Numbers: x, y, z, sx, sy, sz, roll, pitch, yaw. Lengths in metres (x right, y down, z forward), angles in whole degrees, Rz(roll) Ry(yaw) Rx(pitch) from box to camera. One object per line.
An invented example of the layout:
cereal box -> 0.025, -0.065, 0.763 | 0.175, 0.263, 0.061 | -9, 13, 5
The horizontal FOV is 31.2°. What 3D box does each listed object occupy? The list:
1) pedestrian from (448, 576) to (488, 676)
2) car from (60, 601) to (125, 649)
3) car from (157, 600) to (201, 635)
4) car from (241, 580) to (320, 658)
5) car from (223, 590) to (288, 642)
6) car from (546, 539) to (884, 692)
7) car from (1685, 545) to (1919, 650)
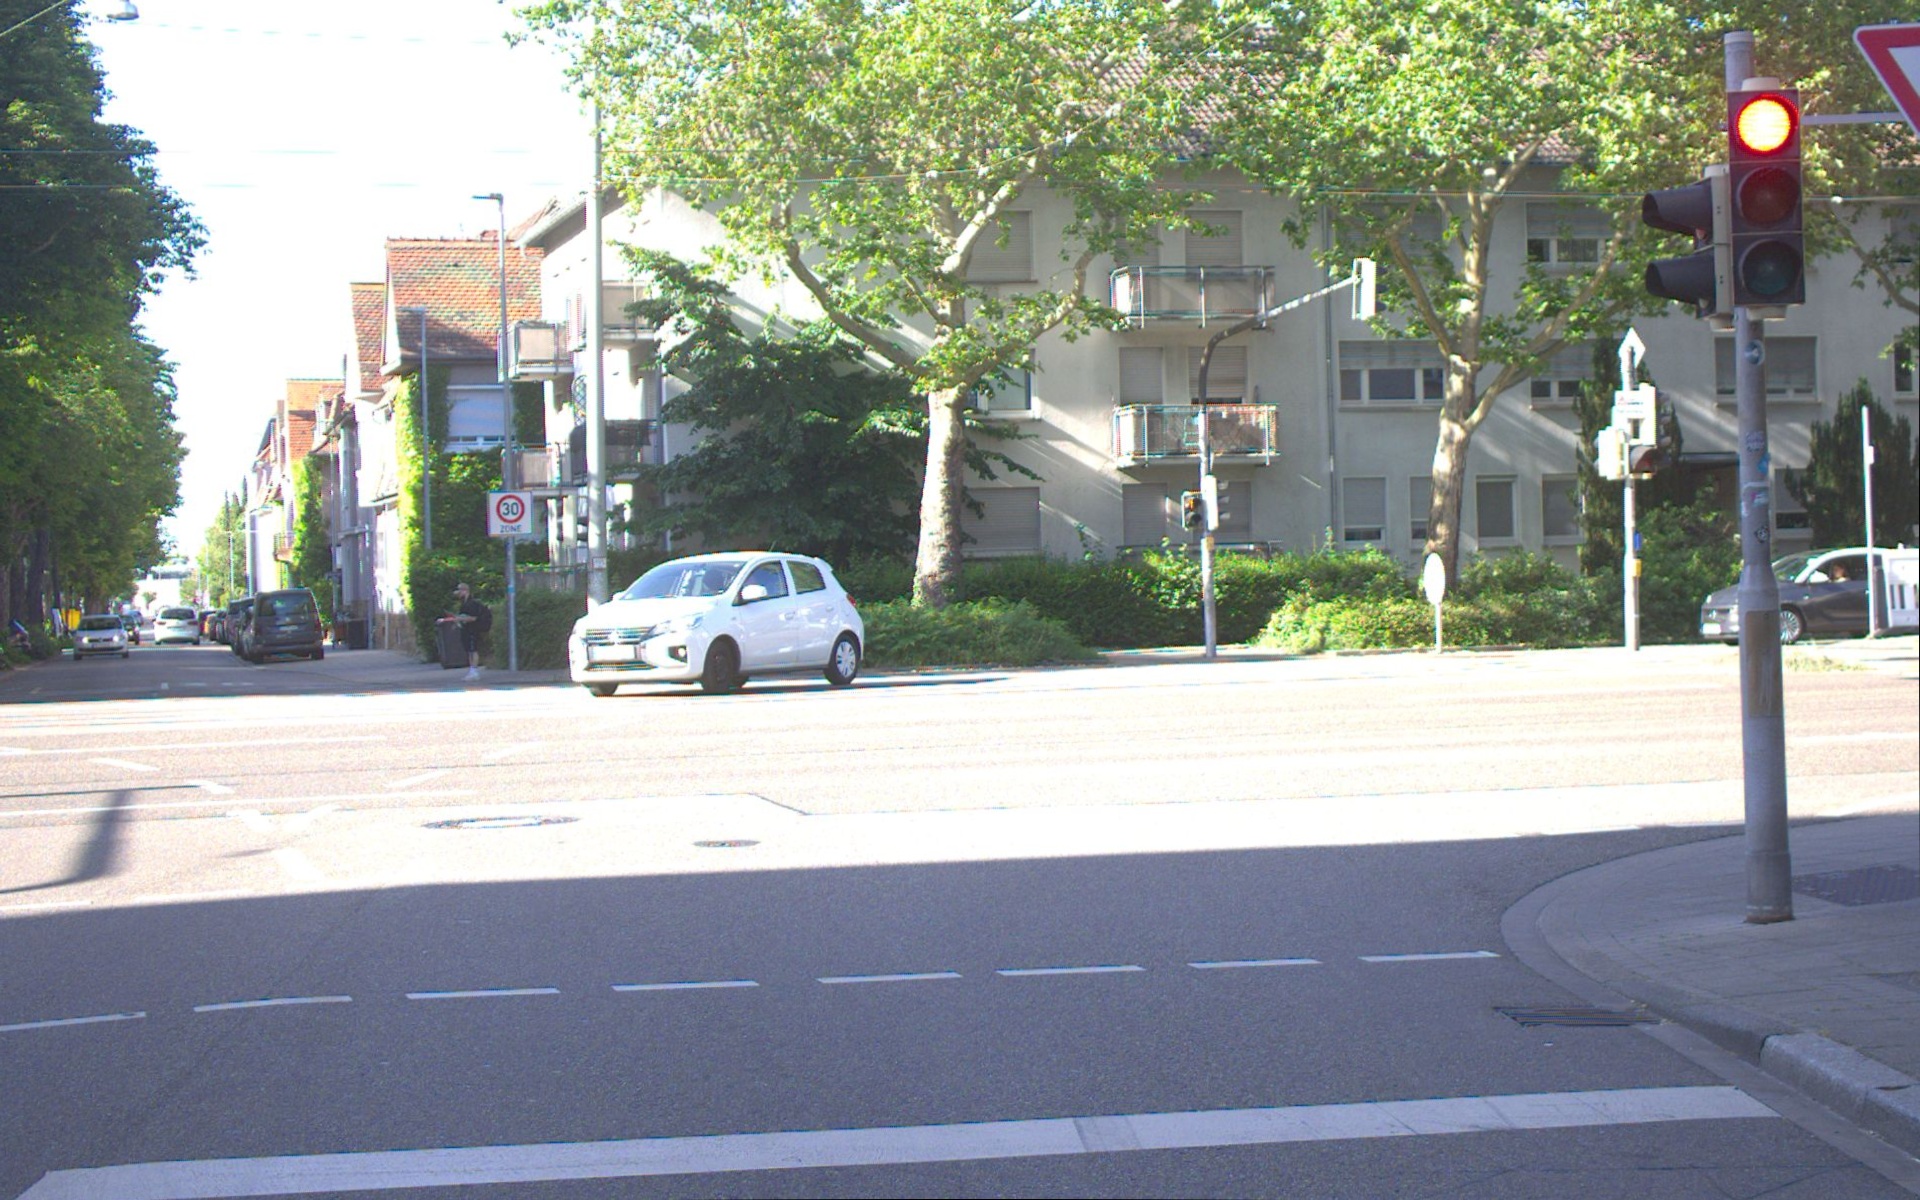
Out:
pedestrian -> -8.624, 0.455, 60.242 | 0.633, 1.744, 0.659 | -1, 0, -4
car -> -28.629, 0.824, 113.414 | 1.993, 1.441, 4.001 | -2, 1, -15
car -> -33.038, 0.729, 145.552 | 1.673, 1.477, 3.523 | -1, 0, -10
car -> -18.684, 0.511, 94.647 | 1.993, 2.007, 4.001 | -2, 1, -10
car -> -25.685, 0.568, 125.321 | 1.993, 1.826, 4.001 | -1, 0, -16
car -> -2.559, 0.138, 36.722 | 1.627, 1.467, 3.793 | -1, 1, 32
car -> 13.092, -0.057, 53.114 | 3.379, 1.482, 1.525 | -2, 1, -22
